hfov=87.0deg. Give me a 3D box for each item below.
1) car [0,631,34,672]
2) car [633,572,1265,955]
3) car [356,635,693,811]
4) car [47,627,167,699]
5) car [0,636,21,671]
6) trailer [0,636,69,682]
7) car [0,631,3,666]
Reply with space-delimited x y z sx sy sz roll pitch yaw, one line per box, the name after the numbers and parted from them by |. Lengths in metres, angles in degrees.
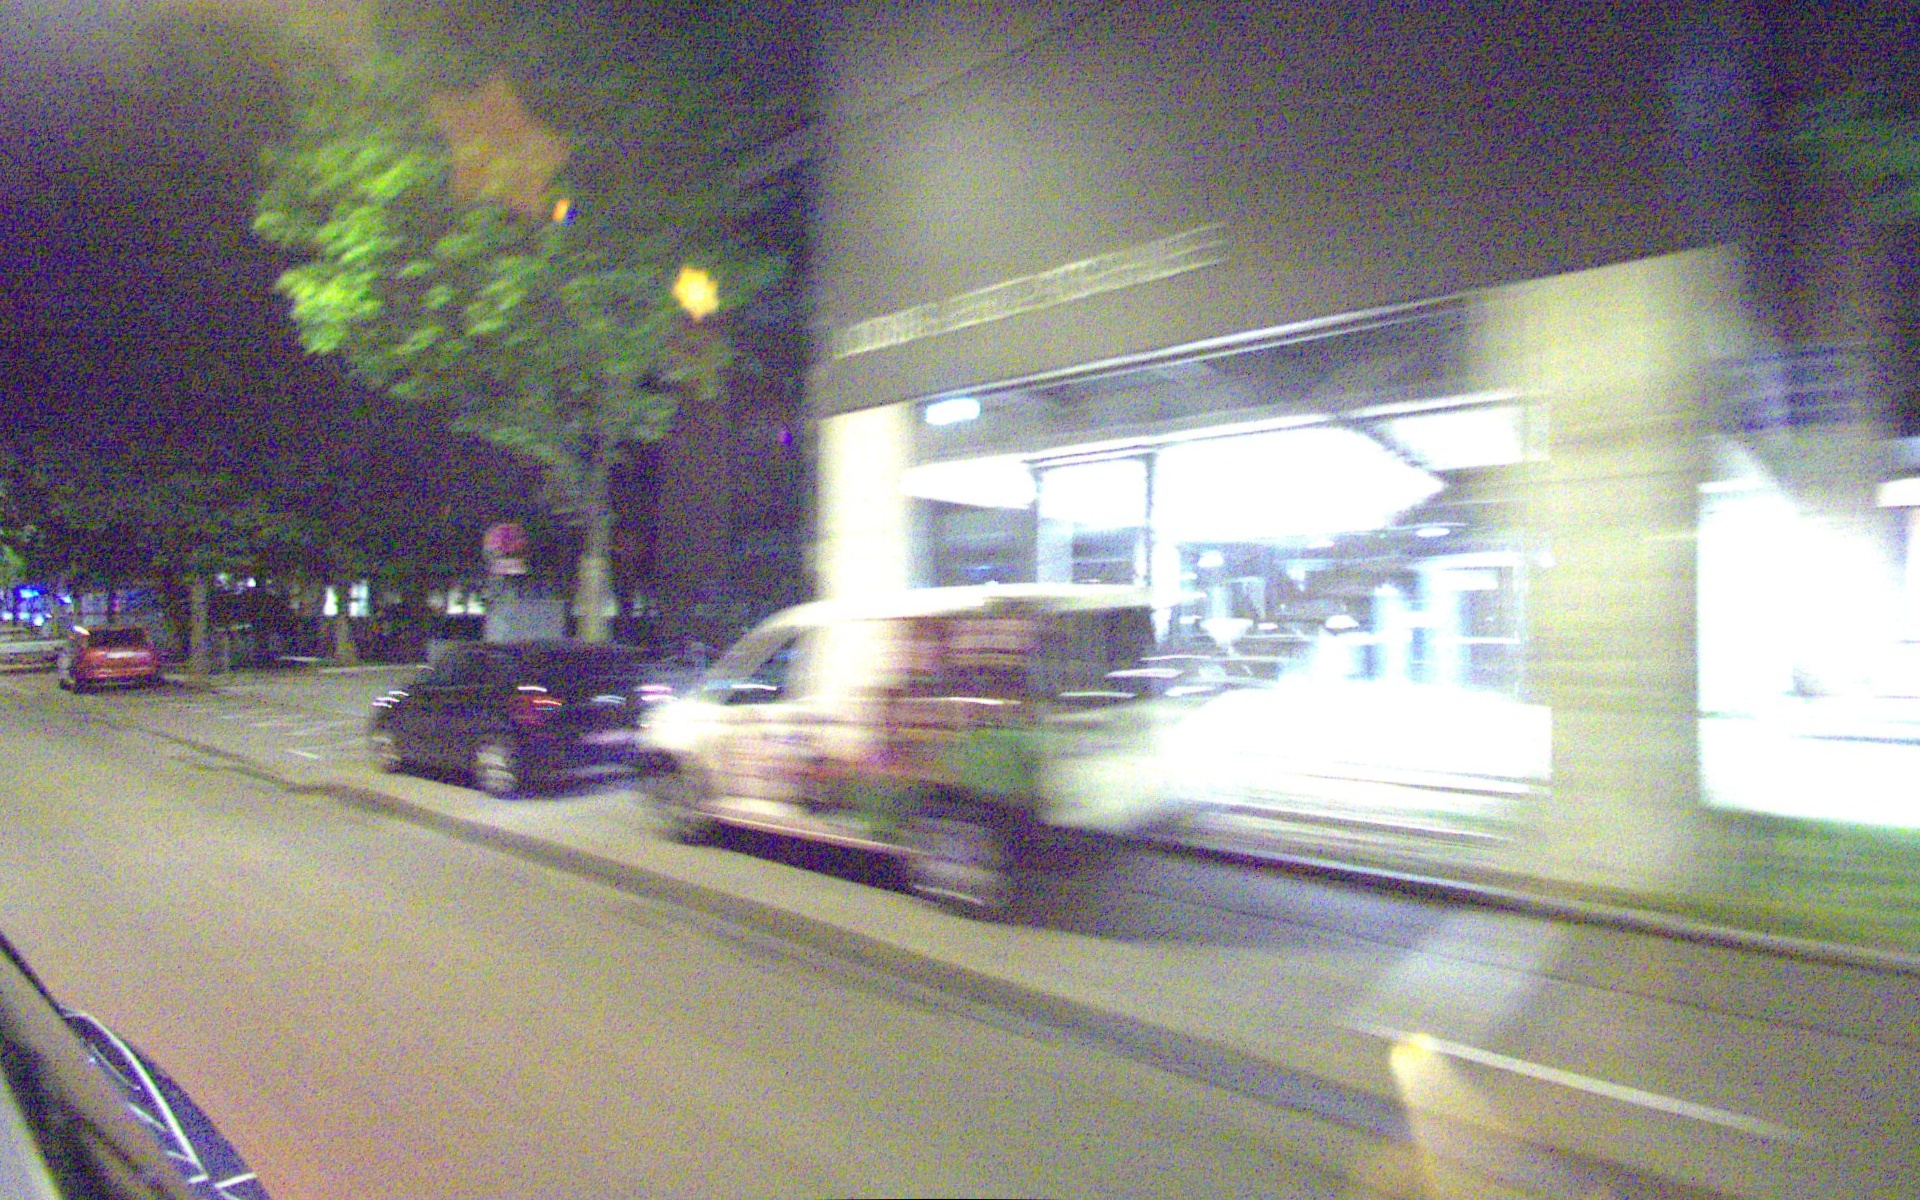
-38.694 2.061 40.662 4.202 1.513 1.699 -2 0 41 | car
-0.314 0.813 6.917 4.209 1.825 1.803 -2 0 43 | car
-4.672 1.130 10.642 3.825 1.444 1.683 -2 0 40 | car
-21.358 1.515 25.303 4.072 1.611 1.802 -2 -1 43 | car
-42.301 2.306 44.011 4.631 1.422 1.687 -1 -1 41 | car
-32.740 2.008 35.178 5.434 1.345 2.088 -1 0 43 | trailer
-46.500 2.285 47.525 4.294 1.619 1.724 -2 -2 39 | car
